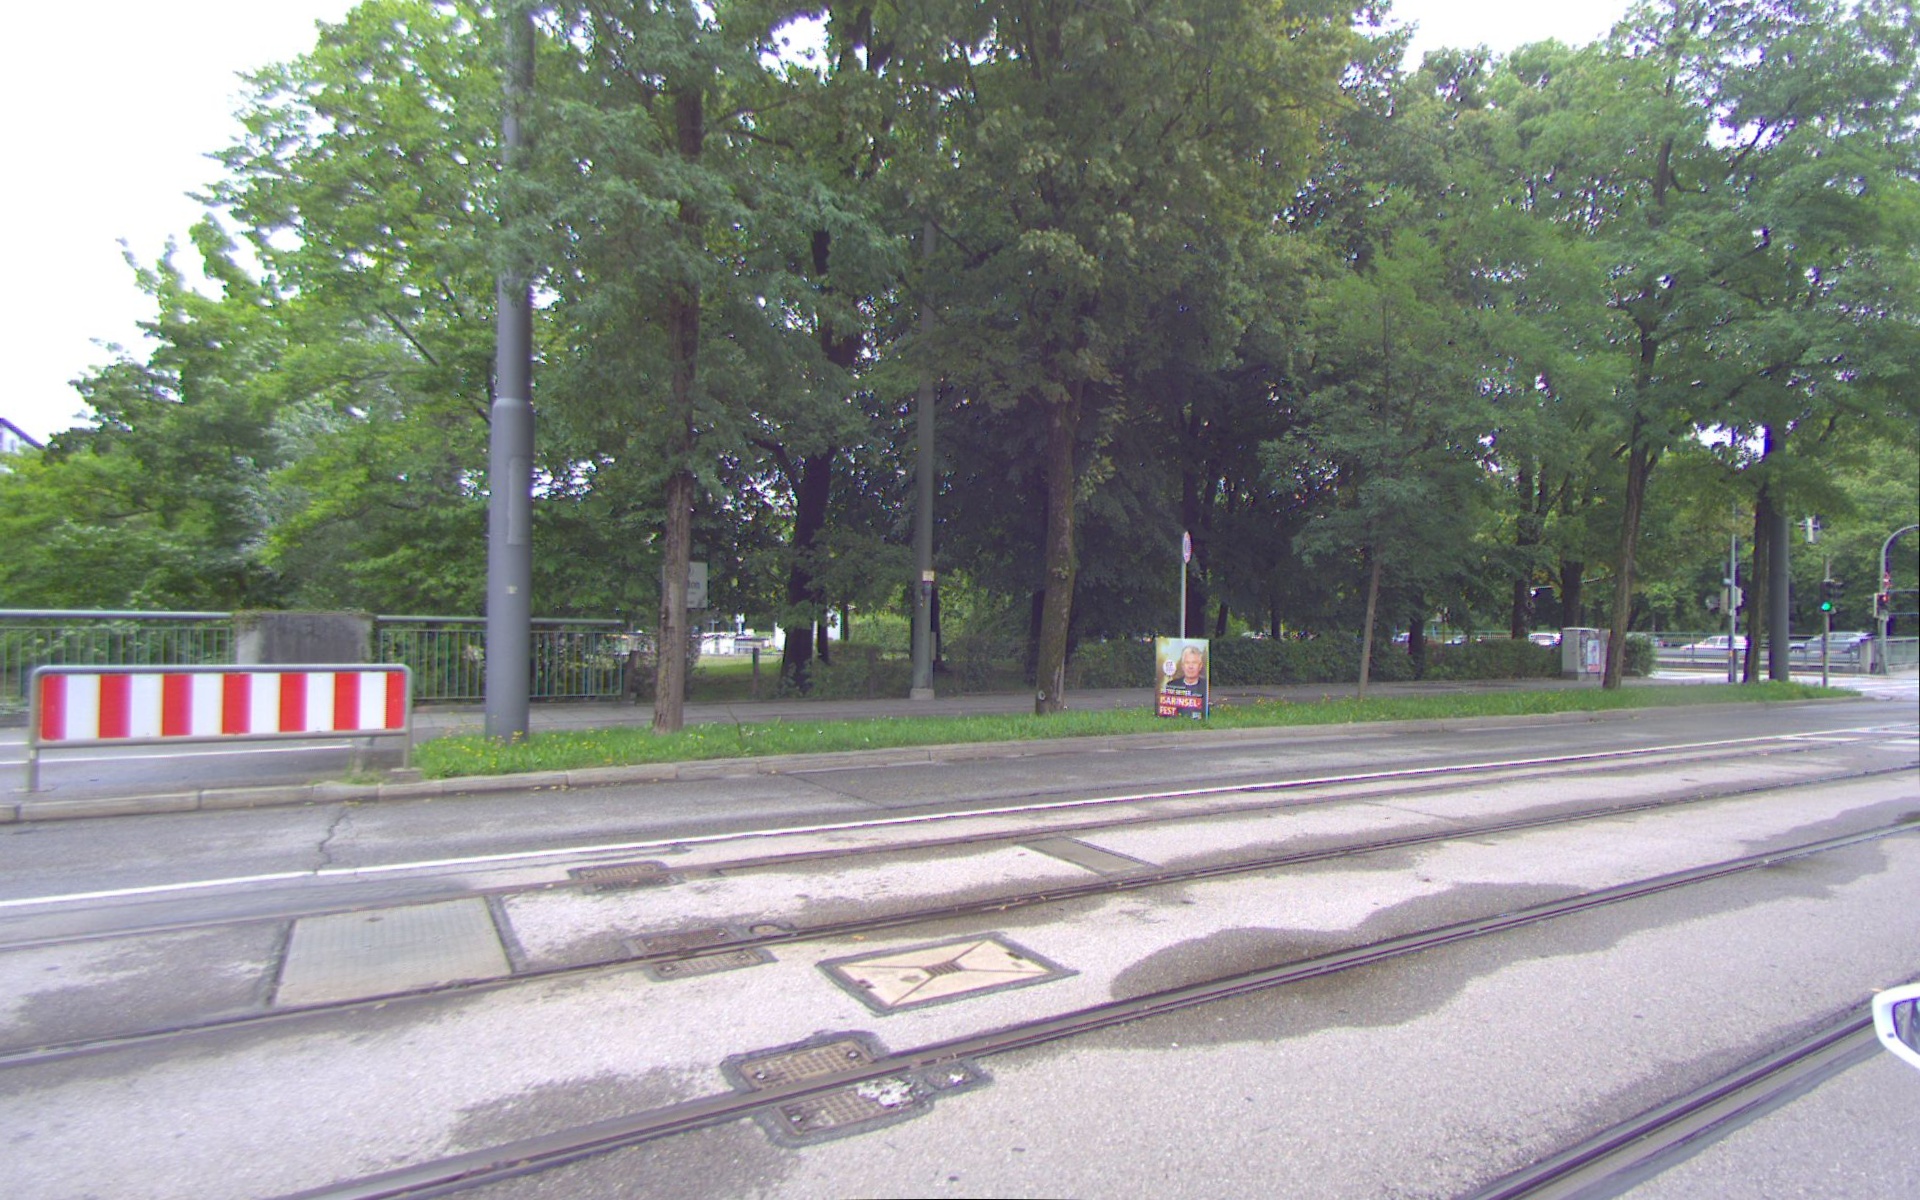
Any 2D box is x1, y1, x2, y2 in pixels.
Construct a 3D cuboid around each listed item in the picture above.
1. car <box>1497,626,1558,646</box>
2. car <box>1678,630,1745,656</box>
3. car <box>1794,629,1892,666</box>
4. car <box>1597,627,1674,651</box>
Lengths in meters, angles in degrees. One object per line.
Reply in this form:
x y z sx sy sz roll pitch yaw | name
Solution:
41.021 2.598 72.673 1.238 1.201 3.704 2 0 -34 | car
47.233 2.710 63.181 1.238 1.471 3.090 2 0 -34 | car
50.898 2.696 57.934 1.476 1.912 3.994 2 0 -36 | car
44.945 2.596 66.912 1.703 1.423 3.900 2 0 -34 | car
